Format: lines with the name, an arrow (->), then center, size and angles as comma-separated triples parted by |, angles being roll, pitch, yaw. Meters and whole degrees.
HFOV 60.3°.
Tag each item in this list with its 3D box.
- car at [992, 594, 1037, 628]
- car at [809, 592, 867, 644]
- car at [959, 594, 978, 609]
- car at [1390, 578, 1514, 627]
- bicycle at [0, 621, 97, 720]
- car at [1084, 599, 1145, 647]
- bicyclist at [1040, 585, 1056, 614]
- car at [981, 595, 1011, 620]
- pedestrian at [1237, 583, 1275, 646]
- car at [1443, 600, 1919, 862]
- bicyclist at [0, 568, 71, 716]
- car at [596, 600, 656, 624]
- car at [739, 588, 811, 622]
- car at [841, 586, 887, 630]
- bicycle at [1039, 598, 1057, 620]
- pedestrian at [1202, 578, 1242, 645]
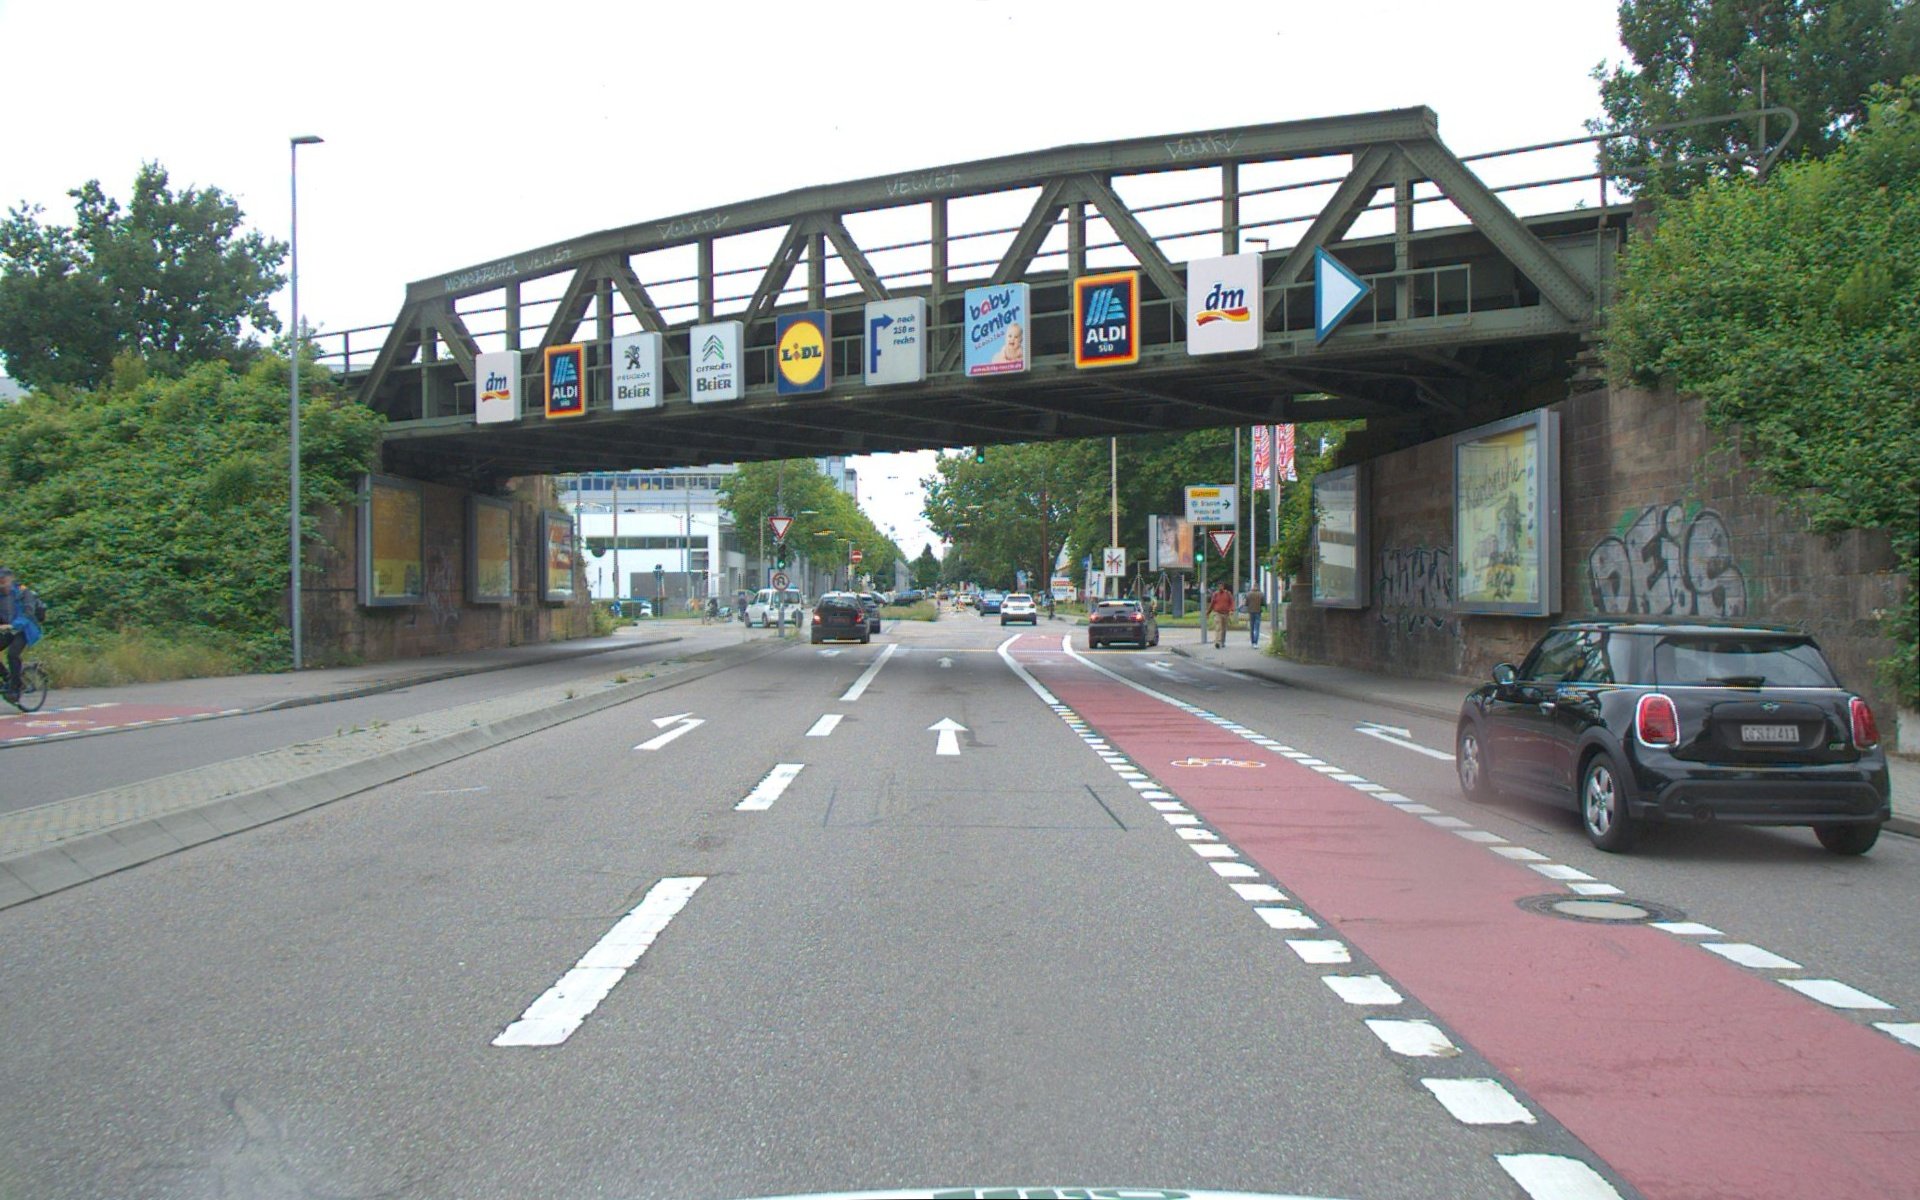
car -> 2.665, 0.523, 81.548 | 1.787, 1.628, 3.773 | 1, 1, -4
car -> -3.832, 0.538, 52.052 | 1.733, 1.554, 3.667 | 1, 1, -4
car -> 0.870, 0.132, 173.882 | 1.760, 1.540, 3.703 | 1, 1, -4
car -> 19.303, 0.128, 64.940 | 4.327, 1.861, 1.875 | -1, -1, 32
bicycle -> -12.431, 0.896, 21.953 | 0.698, 1.207, 2.370 | 1, 0, -1
car -> 4.560, 0.660, 49.149 | 1.613, 1.303, 3.421 | 1, 1, 2
bicyclist -> 5.032, -0.031, 94.668 | 0.800, 1.658, 1.235 | -1, 0, -1
car -> 2.358, 0.498, 108.757 | 1.651, 1.540, 3.703 | 1, 1, -4
pedestrian -> 7.963, 0.371, 44.458 | 0.730, 1.669, 0.775 | 0, 0, 39
car -> 4.740, 0.761, 11.460 | 1.645, 1.456, 3.773 | 1, 1, -1
bicyclist -> -12.416, 0.536, 21.906 | 0.687, 1.907, 1.020 | 1, 0, -1
car -> -22.754, 0.843, 112.628 | 3.580, 1.554, 1.775 | -1, 0, 18
car -> -8.830, 0.216, 78.531 | 1.937, 1.554, 4.972 | 0, 1, -24
car -> -3.856, 0.281, 66.069 | 1.738, 1.681, 3.666 | 1, 1, -4
bicycle -> 5.045, 0.497, 94.671 | 0.800, 1.234, 2.682 | -1, 0, -1
pedestrian -> 7.159, 0.312, 45.249 | 0.856, 1.790, 0.786 | -1, 0, -10
